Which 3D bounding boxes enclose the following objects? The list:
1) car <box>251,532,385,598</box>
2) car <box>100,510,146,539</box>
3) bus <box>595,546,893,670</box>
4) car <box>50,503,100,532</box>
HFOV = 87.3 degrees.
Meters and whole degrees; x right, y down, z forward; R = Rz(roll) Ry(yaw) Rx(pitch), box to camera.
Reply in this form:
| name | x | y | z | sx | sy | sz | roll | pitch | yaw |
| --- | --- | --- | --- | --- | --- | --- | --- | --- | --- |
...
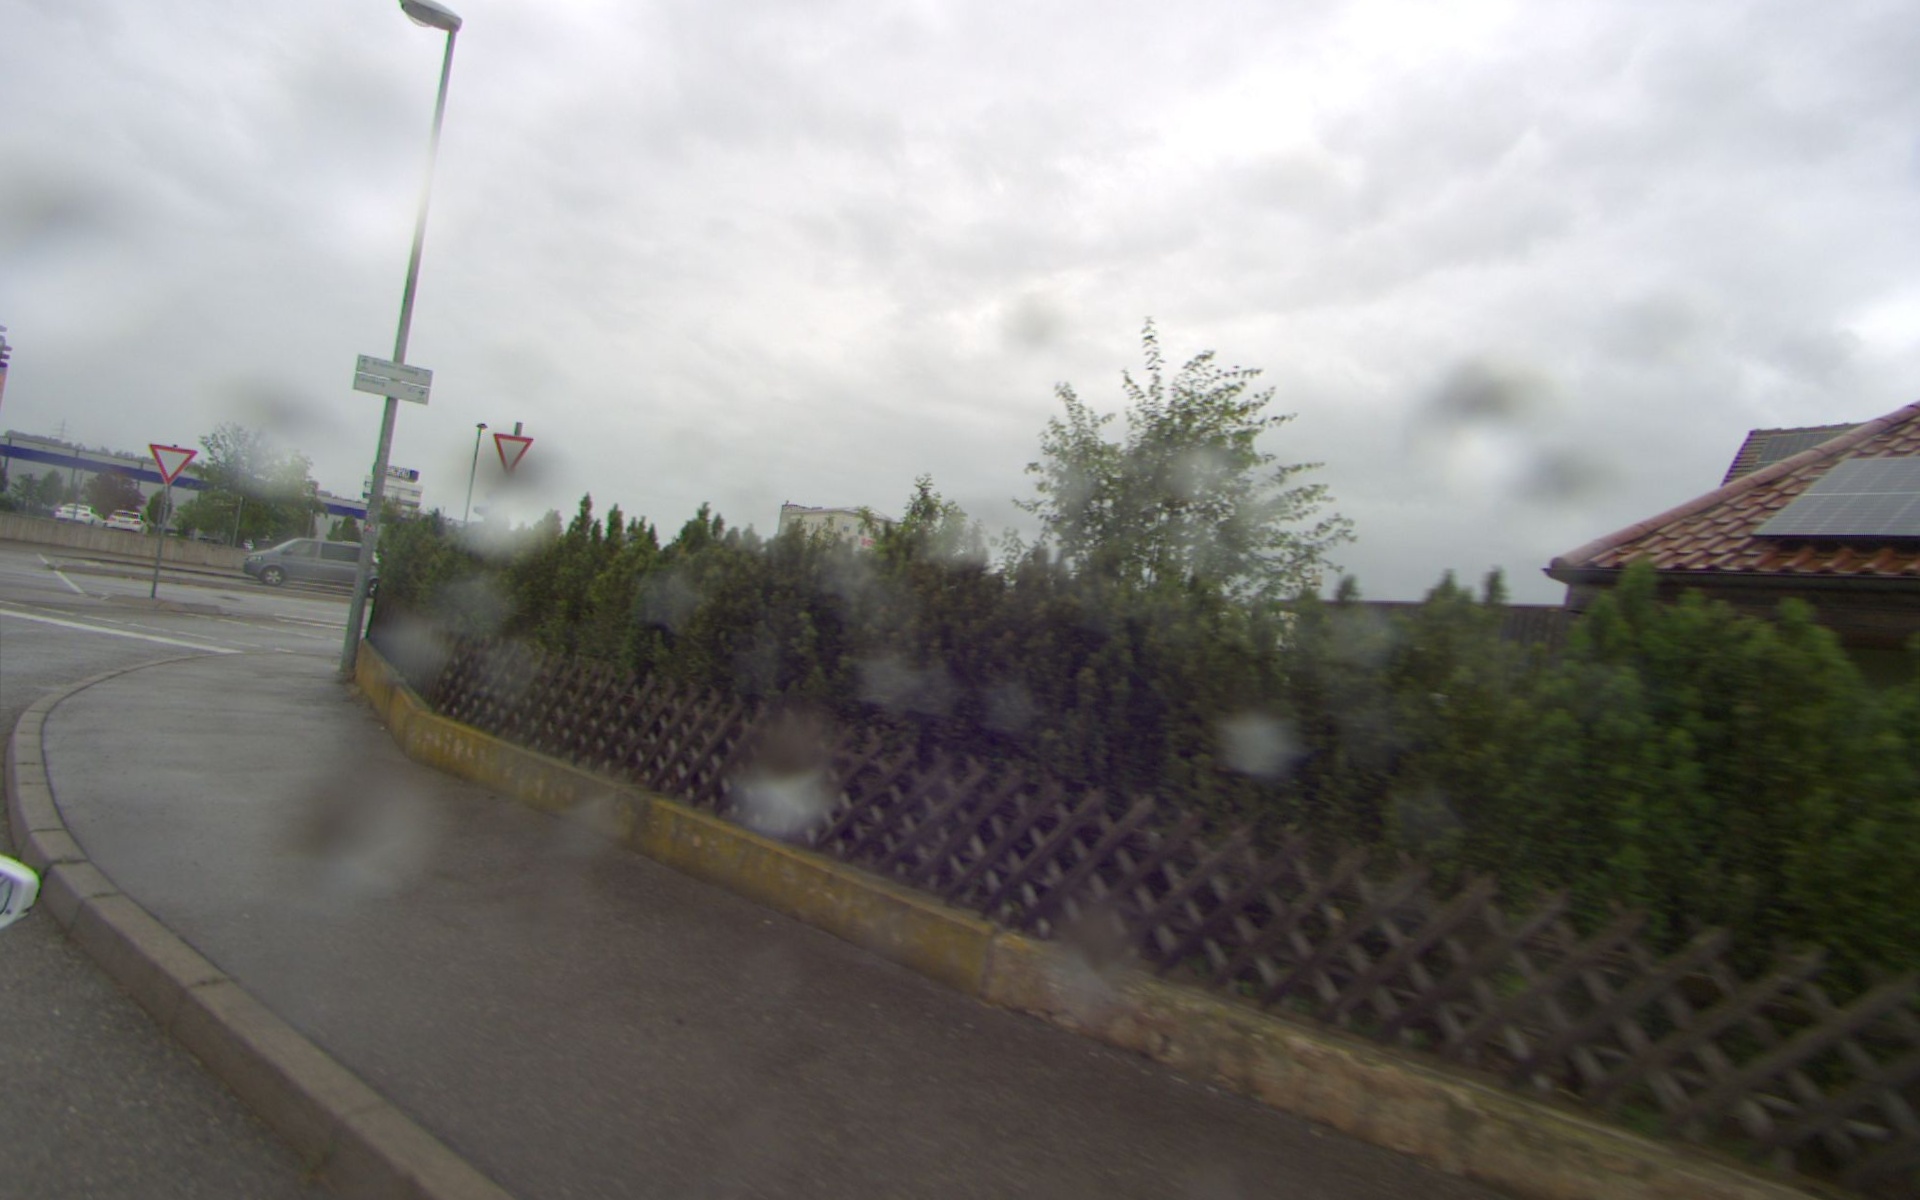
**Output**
| name | x | y | z | sx | sy | sz | roll | pitch | yaw |
| --- | --- | --- | --- | --- | --- | --- | --- | --- | --- |
| car | -24.689 | -1.319 | 38.747 | 3.974 | 1.869 | 1.978 | 10 | -2 | -40 |
| car | -55.450 | -4.982 | 66.716 | 1.985 | 1.495 | 3.960 | 9 | -2 | -37 |
| bus | -8.924 | 0.506 | 43.377 | 12.232 | 3.357 | 3.043 | 11 | -3 | -38 |
| car | -57.201 | -5.305 | 65.081 | 1.985 | 1.495 | 3.960 | 9 | -2 | -37 |
